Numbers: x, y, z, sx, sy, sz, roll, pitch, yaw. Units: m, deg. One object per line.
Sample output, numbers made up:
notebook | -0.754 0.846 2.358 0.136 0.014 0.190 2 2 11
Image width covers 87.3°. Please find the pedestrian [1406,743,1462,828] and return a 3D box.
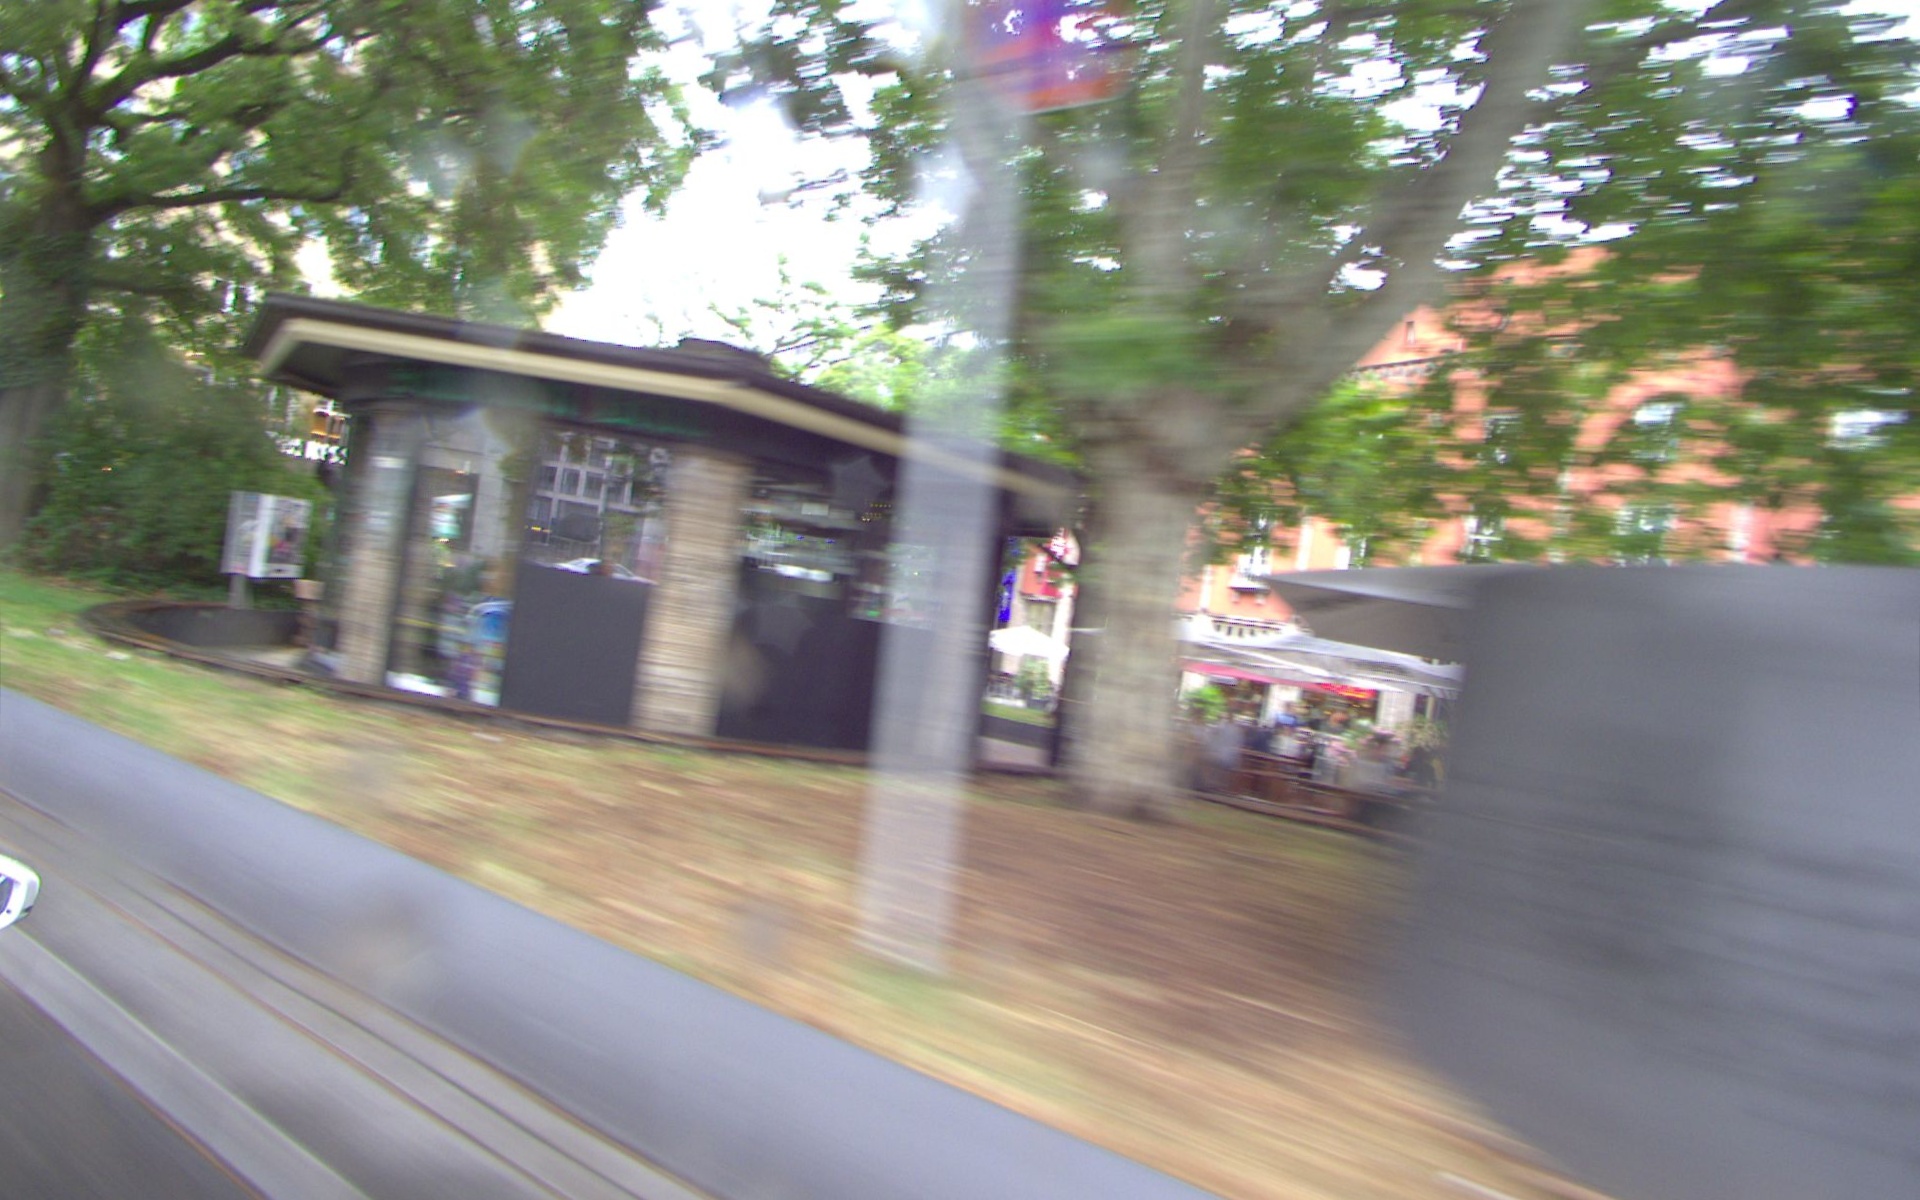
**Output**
pedestrian | 7.799 3.045 16.556 0.600 1.263 0.629 7 -4 36

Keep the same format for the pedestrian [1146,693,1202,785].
pedestrian | 3.607 2.327 16.910 0.619 1.426 0.610 8 -3 24

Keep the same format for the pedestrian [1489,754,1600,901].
pedestrian | 4.547 1.736 7.815 0.608 0.963 0.594 7 -1 35

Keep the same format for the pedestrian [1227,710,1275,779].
pedestrian | 5.830 2.900 20.150 0.600 1.263 0.629 7 -4 36

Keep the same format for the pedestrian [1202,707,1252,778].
pedestrian | 5.247 2.803 19.748 0.600 1.263 0.629 7 -4 36

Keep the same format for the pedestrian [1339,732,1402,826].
pedestrian | 6.099 2.654 14.932 0.600 1.263 0.629 7 -4 36

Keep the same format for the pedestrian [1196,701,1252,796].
pedestrian | 4.290 2.401 16.319 0.619 1.426 0.610 8 -3 24

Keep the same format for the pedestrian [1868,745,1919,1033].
pedestrian | 6.266 1.824 6.222 0.716 1.721 0.614 8 -1 -28

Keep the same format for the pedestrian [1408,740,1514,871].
pedestrian | 4.300 1.731 8.623 0.629 0.963 0.617 7 -1 36

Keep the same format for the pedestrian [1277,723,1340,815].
pedestrian | 5.268 2.547 15.201 0.600 1.263 0.629 7 -4 36

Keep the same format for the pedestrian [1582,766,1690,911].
pedestrian | 5.324 1.849 7.928 0.586 0.963 0.617 7 -1 36

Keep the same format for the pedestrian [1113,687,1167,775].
pedestrian | 3.152 2.287 17.590 0.619 1.426 0.610 8 -3 24

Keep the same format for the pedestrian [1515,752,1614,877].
pedestrian | 5.471 1.913 9.105 0.629 0.963 0.617 7 -1 36

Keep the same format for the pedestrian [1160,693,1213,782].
pedestrian | 3.966 2.403 17.612 0.619 1.426 0.610 8 -3 24

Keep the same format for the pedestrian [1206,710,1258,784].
pedestrian | 5.072 2.742 18.759 0.600 1.263 0.629 7 -4 36
